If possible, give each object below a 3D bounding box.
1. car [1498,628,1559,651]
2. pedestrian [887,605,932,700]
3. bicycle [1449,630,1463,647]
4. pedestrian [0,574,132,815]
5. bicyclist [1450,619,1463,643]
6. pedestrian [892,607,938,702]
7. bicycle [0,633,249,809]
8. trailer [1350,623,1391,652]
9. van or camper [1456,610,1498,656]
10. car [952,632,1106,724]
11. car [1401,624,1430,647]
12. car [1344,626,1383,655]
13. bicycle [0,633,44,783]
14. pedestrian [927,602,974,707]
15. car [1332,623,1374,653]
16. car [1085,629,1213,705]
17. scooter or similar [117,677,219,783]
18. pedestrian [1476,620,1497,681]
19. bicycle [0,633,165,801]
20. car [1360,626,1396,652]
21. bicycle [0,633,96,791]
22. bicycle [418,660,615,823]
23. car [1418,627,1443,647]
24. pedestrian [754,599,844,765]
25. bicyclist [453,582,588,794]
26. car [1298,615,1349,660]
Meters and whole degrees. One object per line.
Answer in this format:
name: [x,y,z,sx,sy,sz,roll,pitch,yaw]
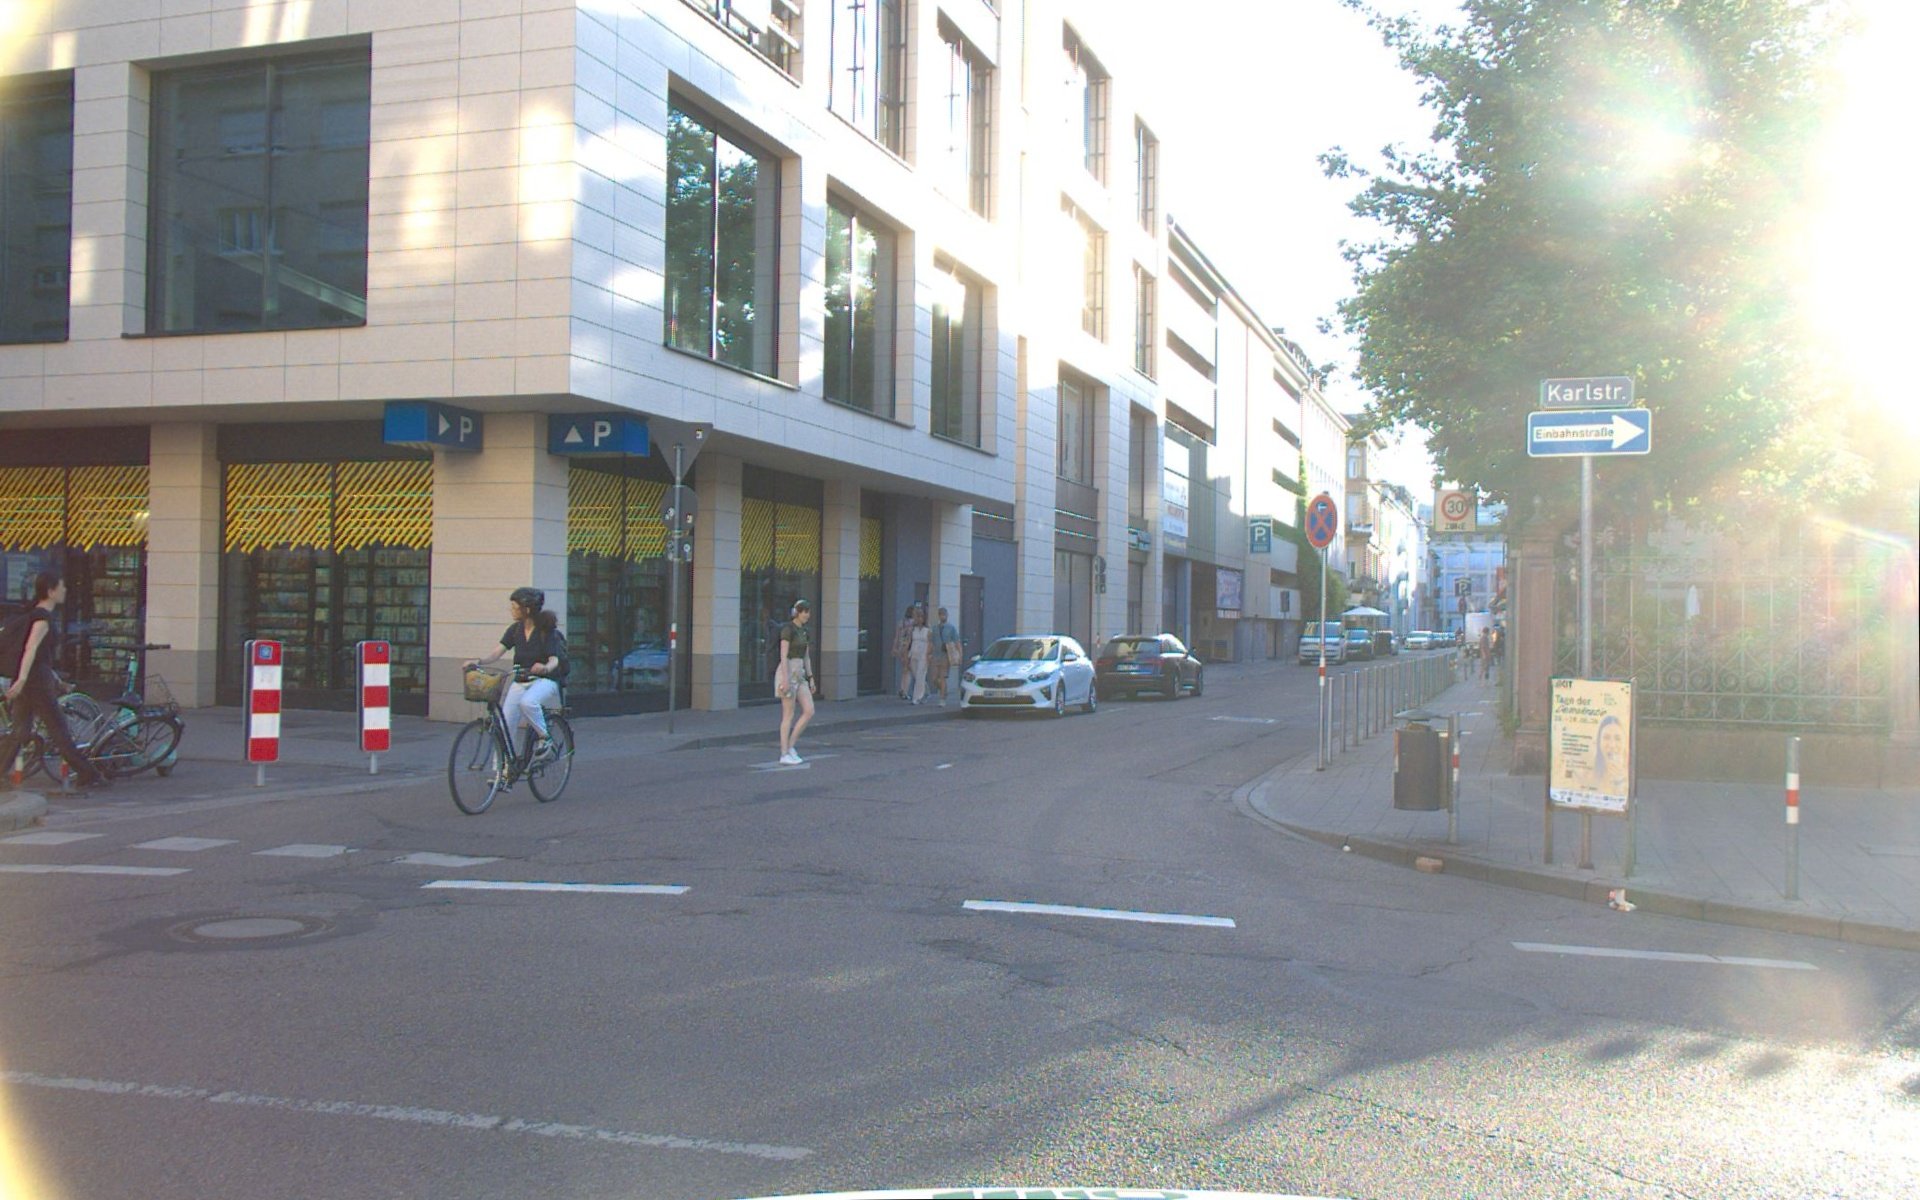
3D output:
car: [39.097,2.726,113.826,3.904,1.445,1.657,1,-1,20]
pedestrian: [-0.961,0.987,31.467,0.658,1.775,0.647,0,-1,19]
bicycle: [39.999,3.109,133.300,0.955,1.303,2.755,1,-1,19]
pedestrian: [-6.547,0.670,12.026,0.858,1.687,0.614,1,-1,-24]
bicyclist: [39.988,2.519,133.257,0.969,1.901,0.708,1,-2,20]
pedestrian: [-0.822,0.993,30.304,0.658,1.704,0.648,1,-1,17]
bicycle: [-6.705,0.912,13.225,0.650,1.277,2.142,1,-1,15]
trailer: [23.376,2.143,94.103,1.952,1.584,4.001,1,-1,18]
van or camper: [32.707,2.114,104.531,2.211,2.653,5.113,-4,-3,19]
car: [1.324,1.340,29.792,1.740,1.478,4.232,0,-1,17]
car: [36.128,2.806,131.027,1.952,1.713,4.001,1,-1,19]
car: [22.045,2.197,90.259,1.844,1.478,4.002,0,-1,17]
bicycle: [-8.636,0.905,13.693,0.501,1.277,1.979,1,-1,19]
pedestrian: [-0.172,0.978,30.018,0.658,1.869,0.648,1,-1,17]
car: [20.349,1.941,85.523,1.844,1.478,4.002,0,-1,17]
car: [4.461,1.500,38.366,1.844,1.626,4.689,0,-1,21]
scooter or similar: [-7.067,1.147,14.782,0.378,0.899,0.770,1,-1,17]
pedestrian: [14.892,1.420,46.775,0.474,1.687,0.619,-1,-1,12]
bicycle: [-7.438,0.913,13.393,0.568,1.277,2.045,1,-1,15]
car: [24.784,2.317,98.045,1.844,1.478,4.002,0,-1,17]
bicycle: [-8.050,0.911,13.525,0.501,1.277,1.980,1,-1,15]
bicycle: [-3.450,1.064,13.046,0.650,1.158,1.823,1,-1,15]
car: [43.338,3.419,152.321,1.952,1.713,4.001,1,-1,19]
pedestrian: [-1.758,0.872,18.007,0.630,1.753,0.834,1,-1,-36]
bicyclist: [-3.448,0.677,13.033,0.644,1.598,0.864,1,-2,15]
car: [16.467,1.664,74.830,1.844,1.945,4.750,0,-1,17]
